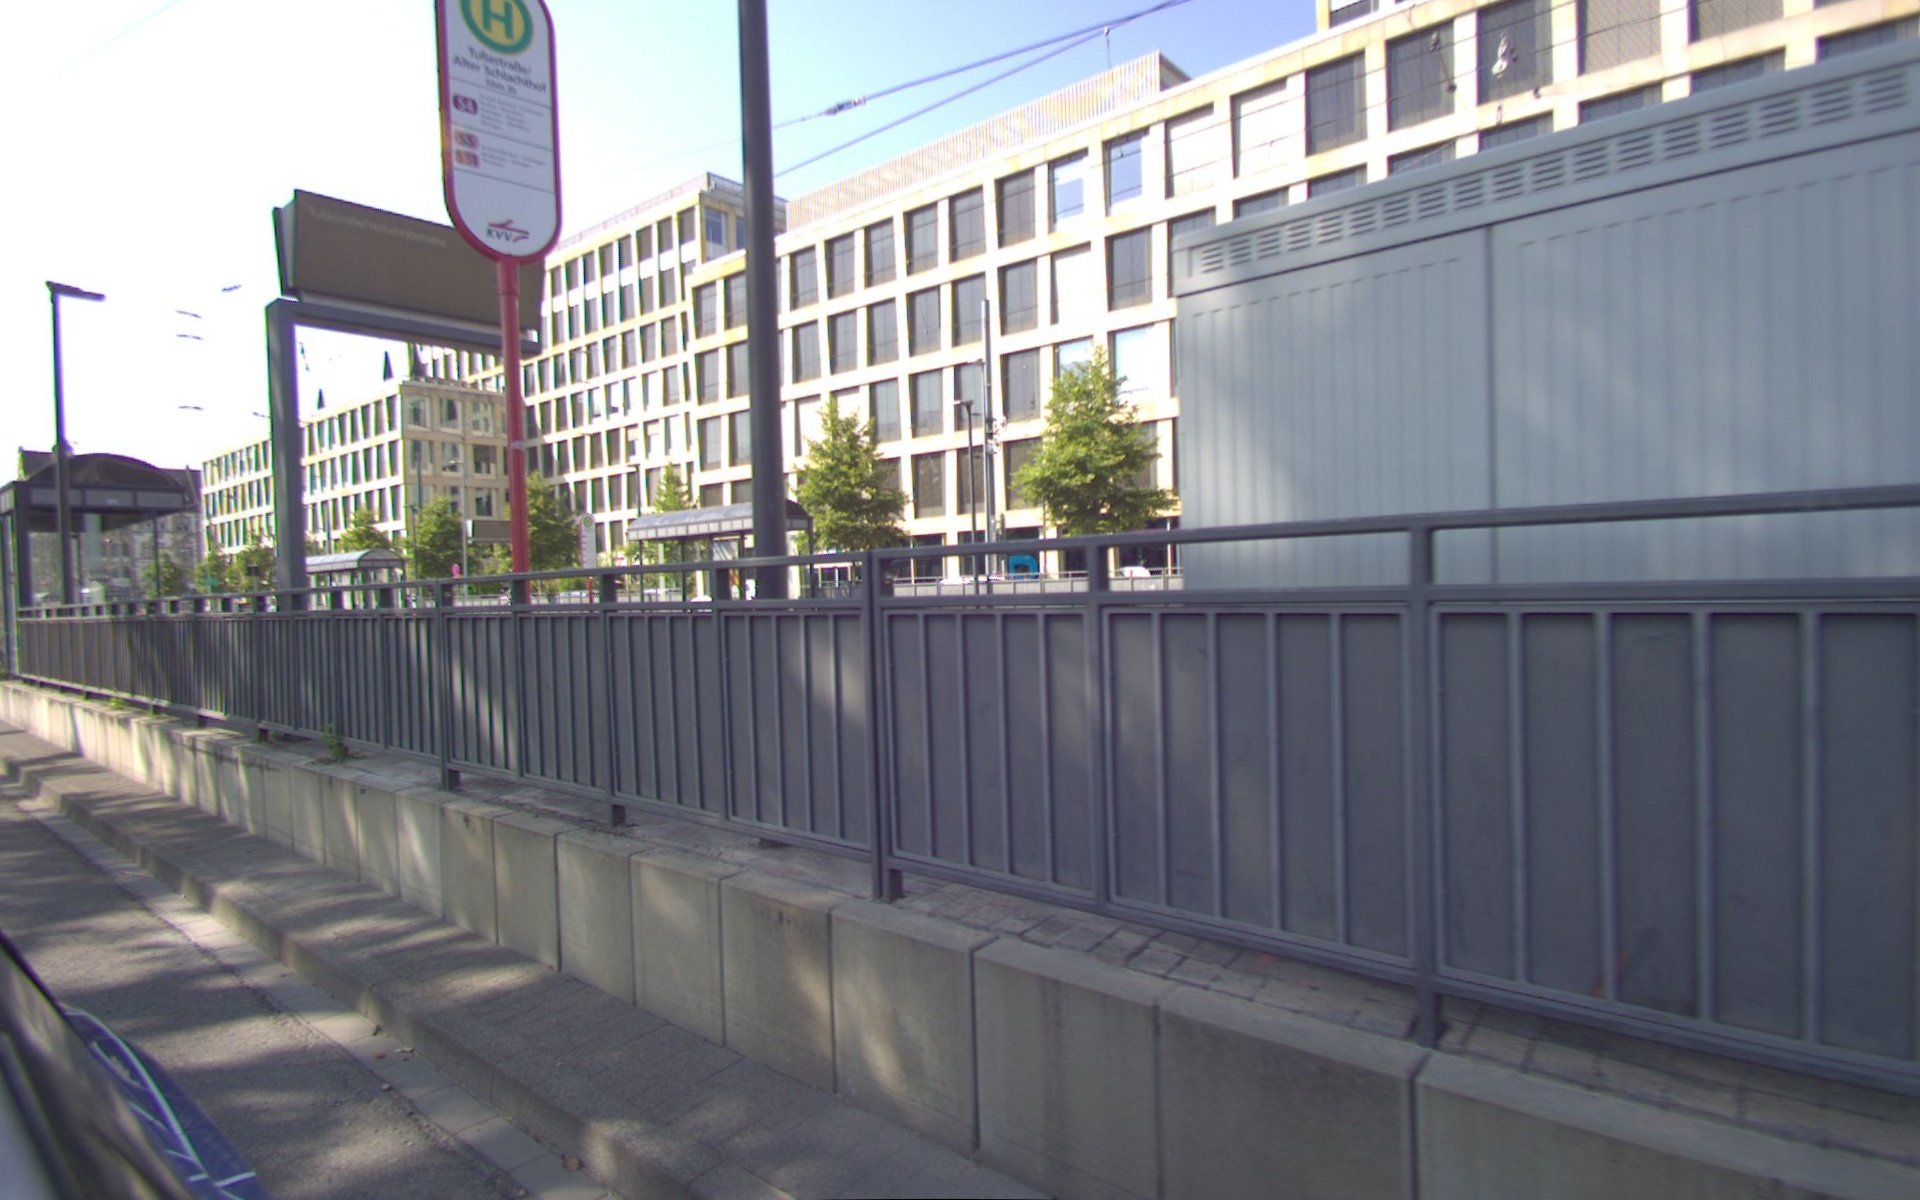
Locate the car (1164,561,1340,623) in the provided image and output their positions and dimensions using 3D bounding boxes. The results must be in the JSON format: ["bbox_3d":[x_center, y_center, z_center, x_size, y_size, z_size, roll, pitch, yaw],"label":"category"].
[{"bbox_3d":[7.428,-0.165,25.925,4.003,1.457,1.694,-1,0,39],"label":"car"}]

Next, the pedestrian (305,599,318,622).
[{"bbox_3d":[-58.980,0.932,92.075,0.822,2.028,0.759,-1,1,43],"label":"pedestrian"}]

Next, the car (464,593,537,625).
[{"bbox_3d":[-23.732,0.473,52.213,4.127,1.586,1.747,-1,0,39],"label":"car"}]

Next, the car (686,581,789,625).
[{"bbox_3d":[-8.820,0.131,39.912,4.127,1.615,1.747,-1,0,39],"label":"car"}]

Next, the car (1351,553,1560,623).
[{"bbox_3d":[11.247,-0.236,23.099,4.003,1.457,1.694,-1,0,39],"label":"car"}]

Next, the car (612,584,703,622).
[{"bbox_3d":[-13.173,0.149,43.976,4.127,1.586,1.747,-1,0,39],"label":"car"}]

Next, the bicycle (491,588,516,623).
[{"bbox_3d":[-15.701,0.195,34.800,0.465,1.156,1.487,-3,1,-35],"label":"bicycle"}]

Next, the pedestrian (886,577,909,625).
[{"bbox_3d":[-2.681,0.050,43.286,0.822,2.029,0.557,0,-1,40],"label":"pedestrian"}]
